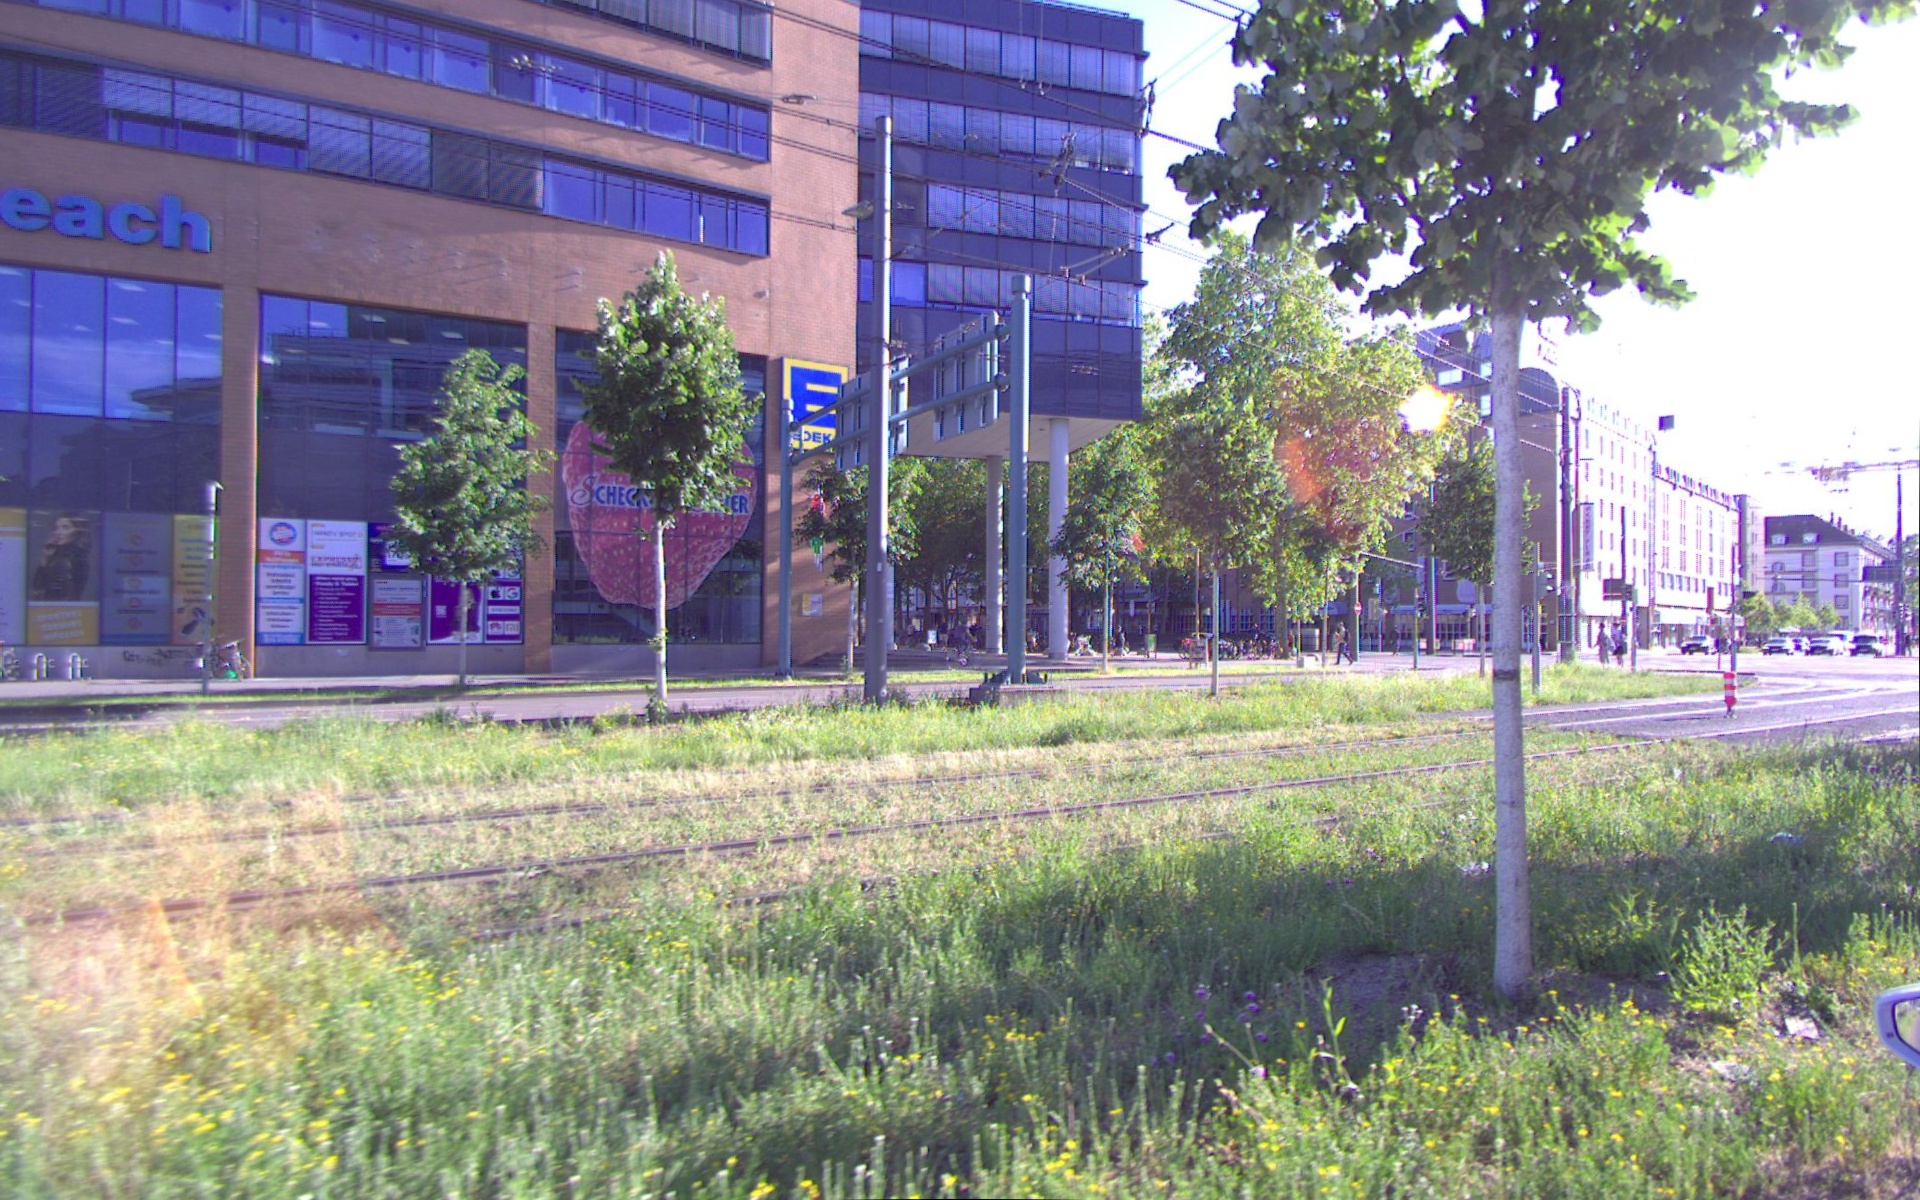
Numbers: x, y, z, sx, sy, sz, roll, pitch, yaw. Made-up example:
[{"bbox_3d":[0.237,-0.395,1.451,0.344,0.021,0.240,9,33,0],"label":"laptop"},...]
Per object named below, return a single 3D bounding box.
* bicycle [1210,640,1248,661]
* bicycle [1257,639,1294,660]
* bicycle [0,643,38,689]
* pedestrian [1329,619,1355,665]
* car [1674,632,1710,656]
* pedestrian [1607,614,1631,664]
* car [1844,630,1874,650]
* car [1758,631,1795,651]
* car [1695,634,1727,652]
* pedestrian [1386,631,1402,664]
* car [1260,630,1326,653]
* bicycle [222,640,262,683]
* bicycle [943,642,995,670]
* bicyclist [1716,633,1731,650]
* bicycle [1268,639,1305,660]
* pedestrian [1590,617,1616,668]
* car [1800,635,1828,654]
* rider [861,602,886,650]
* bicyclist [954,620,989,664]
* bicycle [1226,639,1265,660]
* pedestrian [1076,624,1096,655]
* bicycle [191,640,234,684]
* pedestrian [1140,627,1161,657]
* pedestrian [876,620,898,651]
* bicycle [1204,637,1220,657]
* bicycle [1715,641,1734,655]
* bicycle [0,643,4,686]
[{"bbox_3d":[12.881,2.415,48.127,1.747,0.964,0.538,-1,-2,44],"label":"bicycle"},{"bbox_3d":[15.540,2.438,49.532,0.536,0.964,1.752,1,-1,-38],"label":"bicycle"},{"bbox_3d":[-23.355,1.606,24.673,0.484,1.063,1.761,1,-1,-24],"label":"bicycle"},{"bbox_3d":[17.607,1.932,46.266,0.827,2.040,0.730,1,0,-27],"label":"pedestrian"},{"bbox_3d":[64.710,3.826,88.743,1.973,2.040,3.974,-1,-2,45],"label":"car"},{"bbox_3d":[24.628,1.441,37.547,0.657,1.841,0.559,1,-1,-38],"label":"pedestrian"},{"bbox_3d":[72.045,3.182,80.504,1.725,1.524,3.861,-1,-2,41],"label":"car"},{"bbox_3d":[69.778,3.483,85.824,1.974,1.617,4.708,-1,-2,45],"label":"car"},{"bbox_3d":[70.247,4.004,93.926,1.866,1.530,3.974,-1,-2,45],"label":"car"},{"bbox_3d":[27.421,2.986,63.408,0.670,2.040,0.662,1,-1,-31],"label":"pedestrian"},{"bbox_3d":[22.358,2.745,67.505,1.744,1.439,3.958,1,-2,-37],"label":"car"},{"bbox_3d":[-18.924,1.615,26.500,0.484,1.063,1.761,1,-1,-24],"label":"bicycle"},{"bbox_3d":[0.323,1.940,34.945,1.869,0.923,0.495,1,-1,-35],"label":"bicycle"},{"bbox_3d":[63.165,3.415,83.083,0.943,1.393,0.751,1,-1,-39],"label":"bicyclist"},{"bbox_3d":[16.232,2.455,49.940,0.536,0.964,1.752,1,-1,-38],"label":"bicycle"},{"bbox_3d":[23.700,1.542,37.009,0.657,1.854,0.627,1,-1,-38],"label":"pedestrian"},{"bbox_3d":[70.956,3.650,83.431,1.725,1.524,3.861,-1,-2,41],"label":"car"},{"bbox_3d":[-3.354,0.997,38.807,0.704,1.826,0.714,1,-1,-31],"label":"rider"},{"bbox_3d":[0.393,1.445,35.007,1.006,1.485,0.673,1,0,-34],"label":"bicyclist"},{"bbox_3d":[13.937,2.397,49.023,1.741,0.964,0.540,0,-1,33],"label":"bicycle"},{"bbox_3d":[6.850,2.140,54.725,0.827,1.667,0.730,1,-1,-27],"label":"pedestrian"},{"bbox_3d":[-19.475,1.601,26.192,0.484,1.063,1.761,1,-1,-24],"label":"bicycle"},{"bbox_3d":[10.344,2.275,54.463,0.827,1.619,0.730,1,0,-27],"label":"pedestrian"},{"bbox_3d":[-4.145,2.020,56.982,1.091,1.730,0.789,1,0,-15],"label":"pedestrian"},{"bbox_3d":[12.705,2.373,50.702,0.530,0.964,1.772,0,-1,5],"label":"bicycle"},{"bbox_3d":[63.445,3.966,83.371,2.902,1.099,0.644,1,-1,-40],"label":"bicycle"},{"bbox_3d":[-23.943,1.591,24.383,0.484,1.063,1.761,1,-1,-24],"label":"bicycle"}]
